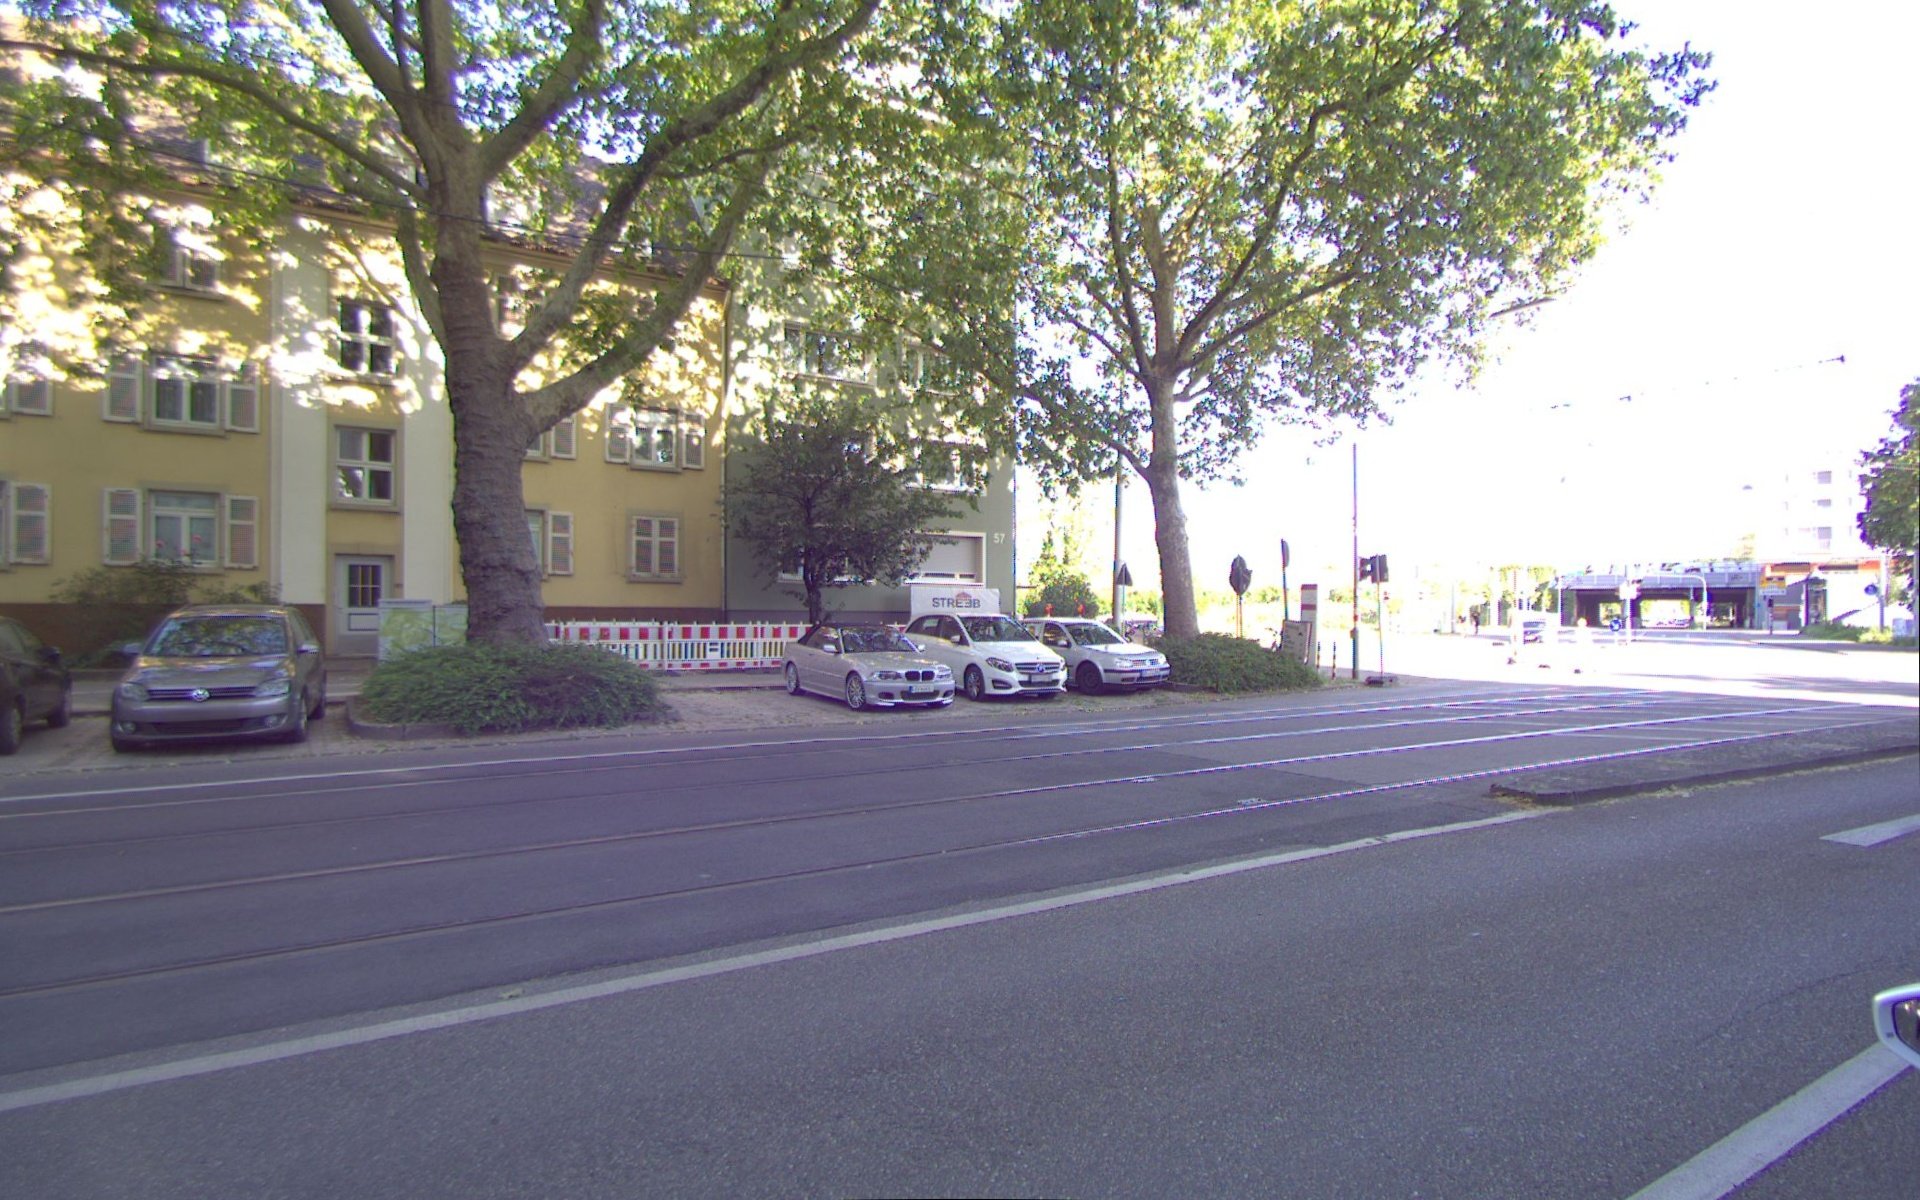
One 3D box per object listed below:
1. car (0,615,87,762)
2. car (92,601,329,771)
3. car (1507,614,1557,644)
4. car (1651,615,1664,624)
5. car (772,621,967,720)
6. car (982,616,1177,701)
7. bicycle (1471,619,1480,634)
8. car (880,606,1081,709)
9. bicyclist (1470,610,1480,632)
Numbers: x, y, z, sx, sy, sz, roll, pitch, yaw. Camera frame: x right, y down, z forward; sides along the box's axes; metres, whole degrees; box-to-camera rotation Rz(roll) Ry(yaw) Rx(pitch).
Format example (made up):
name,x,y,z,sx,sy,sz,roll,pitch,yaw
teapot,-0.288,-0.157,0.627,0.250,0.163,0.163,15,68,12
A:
name,x,y,z,sx,sy,sz,roll,pitch,yaw
car,-11.367,0.914,11.304,1.723,1.448,3.545,1,0,-31
car,-9.010,0.888,12.433,1.793,1.627,4.169,1,1,-29
car,32.465,1.632,56.941,1.803,1.539,3.876,2,0,40
car,147.801,4.051,212.885,2.183,1.847,4.134,0,-1,34
car,-1.701,1.107,17.441,1.708,1.386,4.220,1,0,-31
car,2.329,1.114,20.829,1.656,1.448,4.490,1,0,-30
bicycle,37.244,1.893,72.557,0.572,1.075,2.039,0,-1,28
car,0.249,1.003,19.485,1.777,1.640,4.587,1,1,-30
bicyclist,37.209,1.484,72.566,0.625,1.584,0.832,0,-1,28
